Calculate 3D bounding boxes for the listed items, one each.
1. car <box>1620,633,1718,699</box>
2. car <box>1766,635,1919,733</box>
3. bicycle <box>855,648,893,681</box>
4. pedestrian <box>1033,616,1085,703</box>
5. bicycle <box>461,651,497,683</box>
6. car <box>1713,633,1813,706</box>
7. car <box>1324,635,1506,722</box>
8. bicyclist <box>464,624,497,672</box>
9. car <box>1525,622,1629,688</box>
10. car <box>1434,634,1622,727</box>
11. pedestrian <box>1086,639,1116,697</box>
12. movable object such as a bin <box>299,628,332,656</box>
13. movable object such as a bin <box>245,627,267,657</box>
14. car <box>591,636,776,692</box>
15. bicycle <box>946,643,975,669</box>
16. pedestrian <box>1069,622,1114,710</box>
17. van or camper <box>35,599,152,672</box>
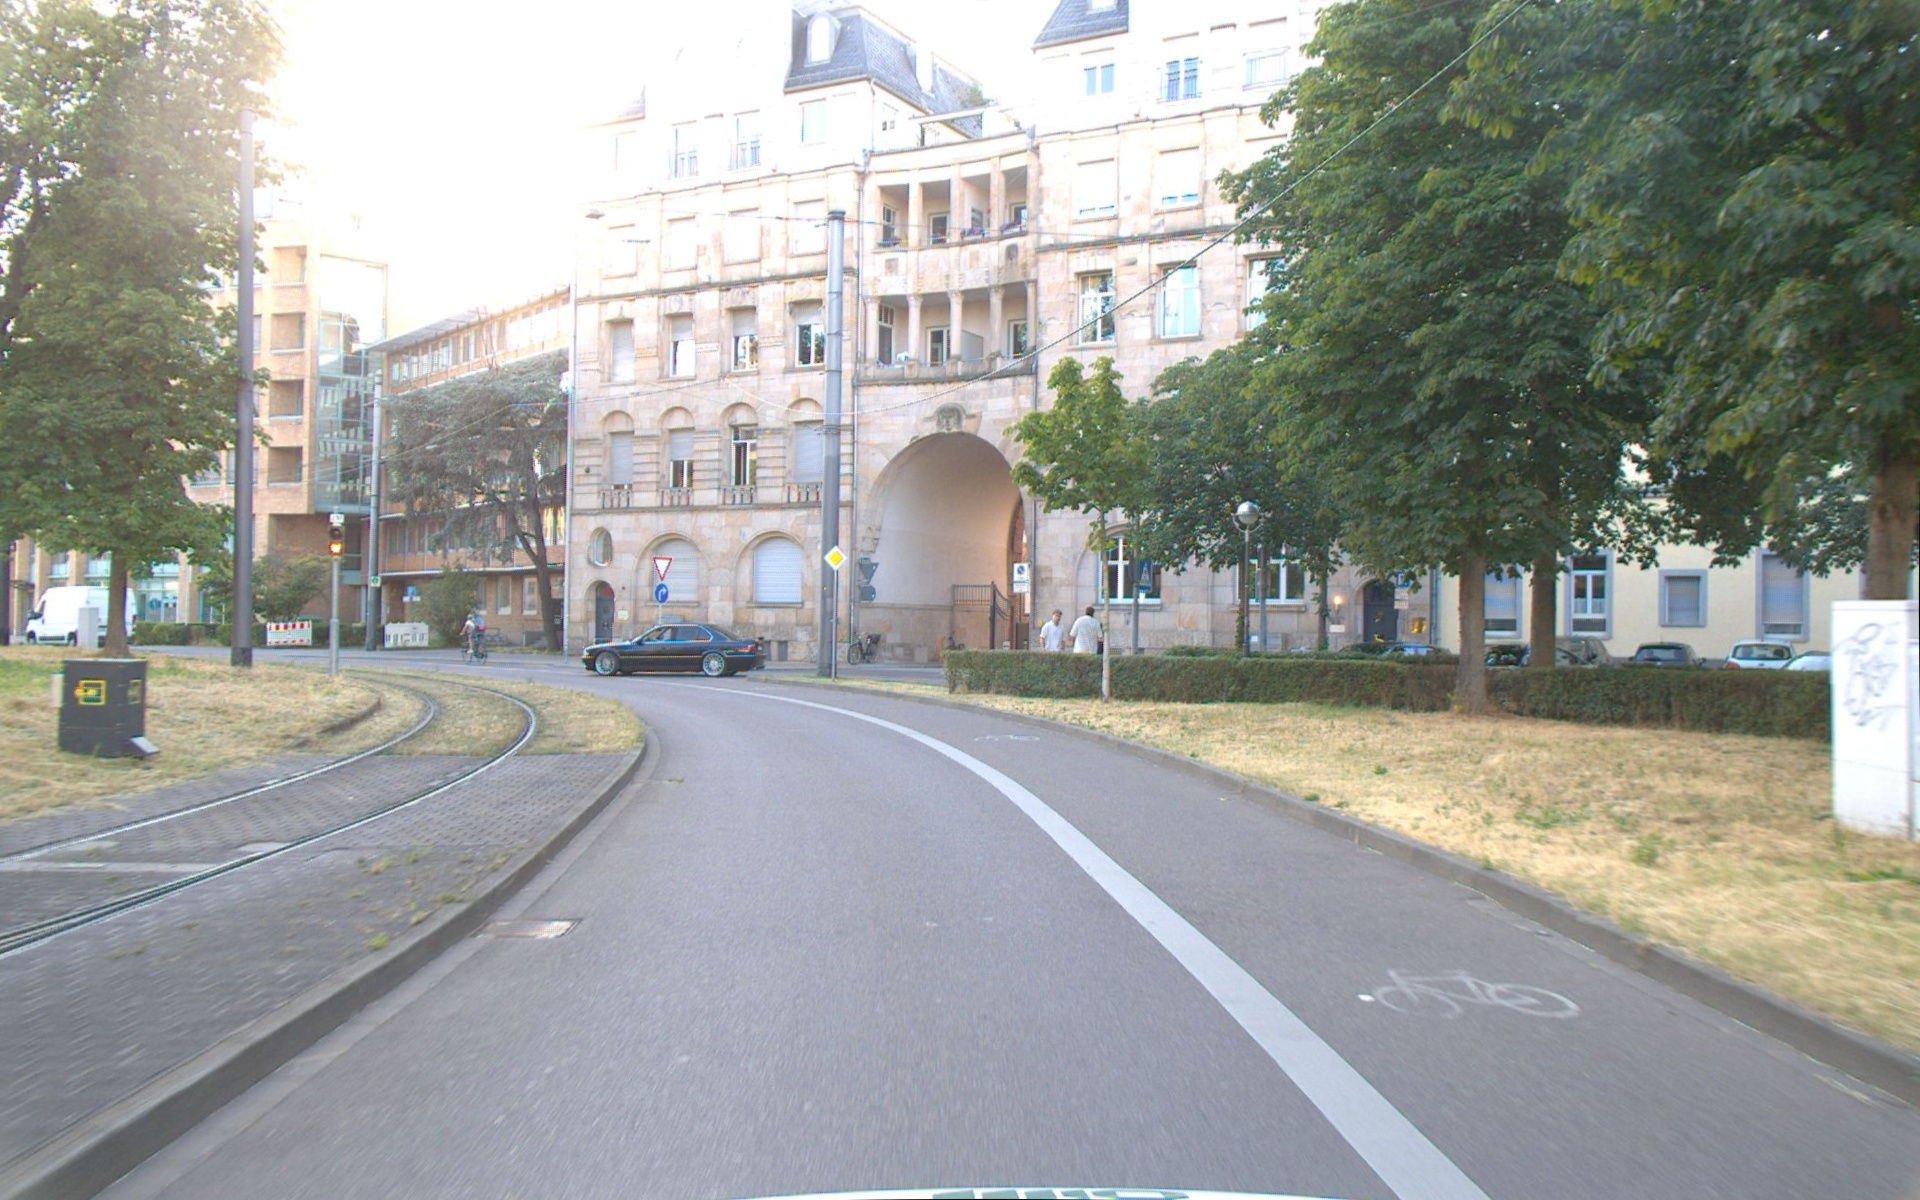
[{"bbox_3d":[17.889,1.615,41.645,1.798,1.511,4.060,1,0,30],"label":"car"},{"bbox_3d":[16.121,1.436,29.534,1.966,1.579,4.040,1,0,44],"label":"car"},{"bbox_3d":[-3.018,2.253,58.206,0.419,1.092,1.853,1,0,28],"label":"bicycle"},{"bbox_3d":[2.047,1.219,34.208,0.758,1.746,0.778,1,-1,-30],"label":"pedestrian"},{"bbox_3d":[-15.545,2.173,53.473,0.511,0.971,1.752,4,-3,-36],"label":"bicycle"},{"bbox_3d":[19.511,1.637,40.114,1.798,1.597,4.059,1,0,31],"label":"car"},{"bbox_3d":[9.186,1.515,33.214,1.834,1.584,4.040,1,0,44],"label":"car"},{"bbox_3d":[-15.483,1.542,53.402,0.650,1.510,1.024,4,-4,-36],"label":"bicyclist"},{"bbox_3d":[16.058,1.380,42.947,1.798,1.585,4.390,1,0,30],"label":"car"},{"bbox_3d":[10.786,1.463,31.259,1.834,1.584,4.040,1,0,44],"label":"car"},{"bbox_3d":[4.302,2.054,50.337,0.706,1.739,0.576,1,-1,33],"label":"pedestrian"},{"bbox_3d":[-33.626,2.176,86.268,0.908,1.449,1.336,0,-1,43],"label":"movable object such as a bin"},{"bbox_3d":[-36.252,2.153,85.149,0.957,1.463,1.337,1,0,-20],"label":"movable object such as a bin"},{"bbox_3d":[-7.309,1.688,43.971,4.528,1.378,1.837,-1,-1,5],"label":"car"},{"bbox_3d":[0.033,2.138,63.352,0.471,0.972,1.510,1,0,28],"label":"bicycle"},{"bbox_3d":[2.772,1.383,34.969,0.584,1.823,0.814,1,-1,-28],"label":"pedestrian"},{"bbox_3d":[-33.800,1.355,64.492,4.411,2.671,2.262,1,0,35],"label":"van or camper"}]
